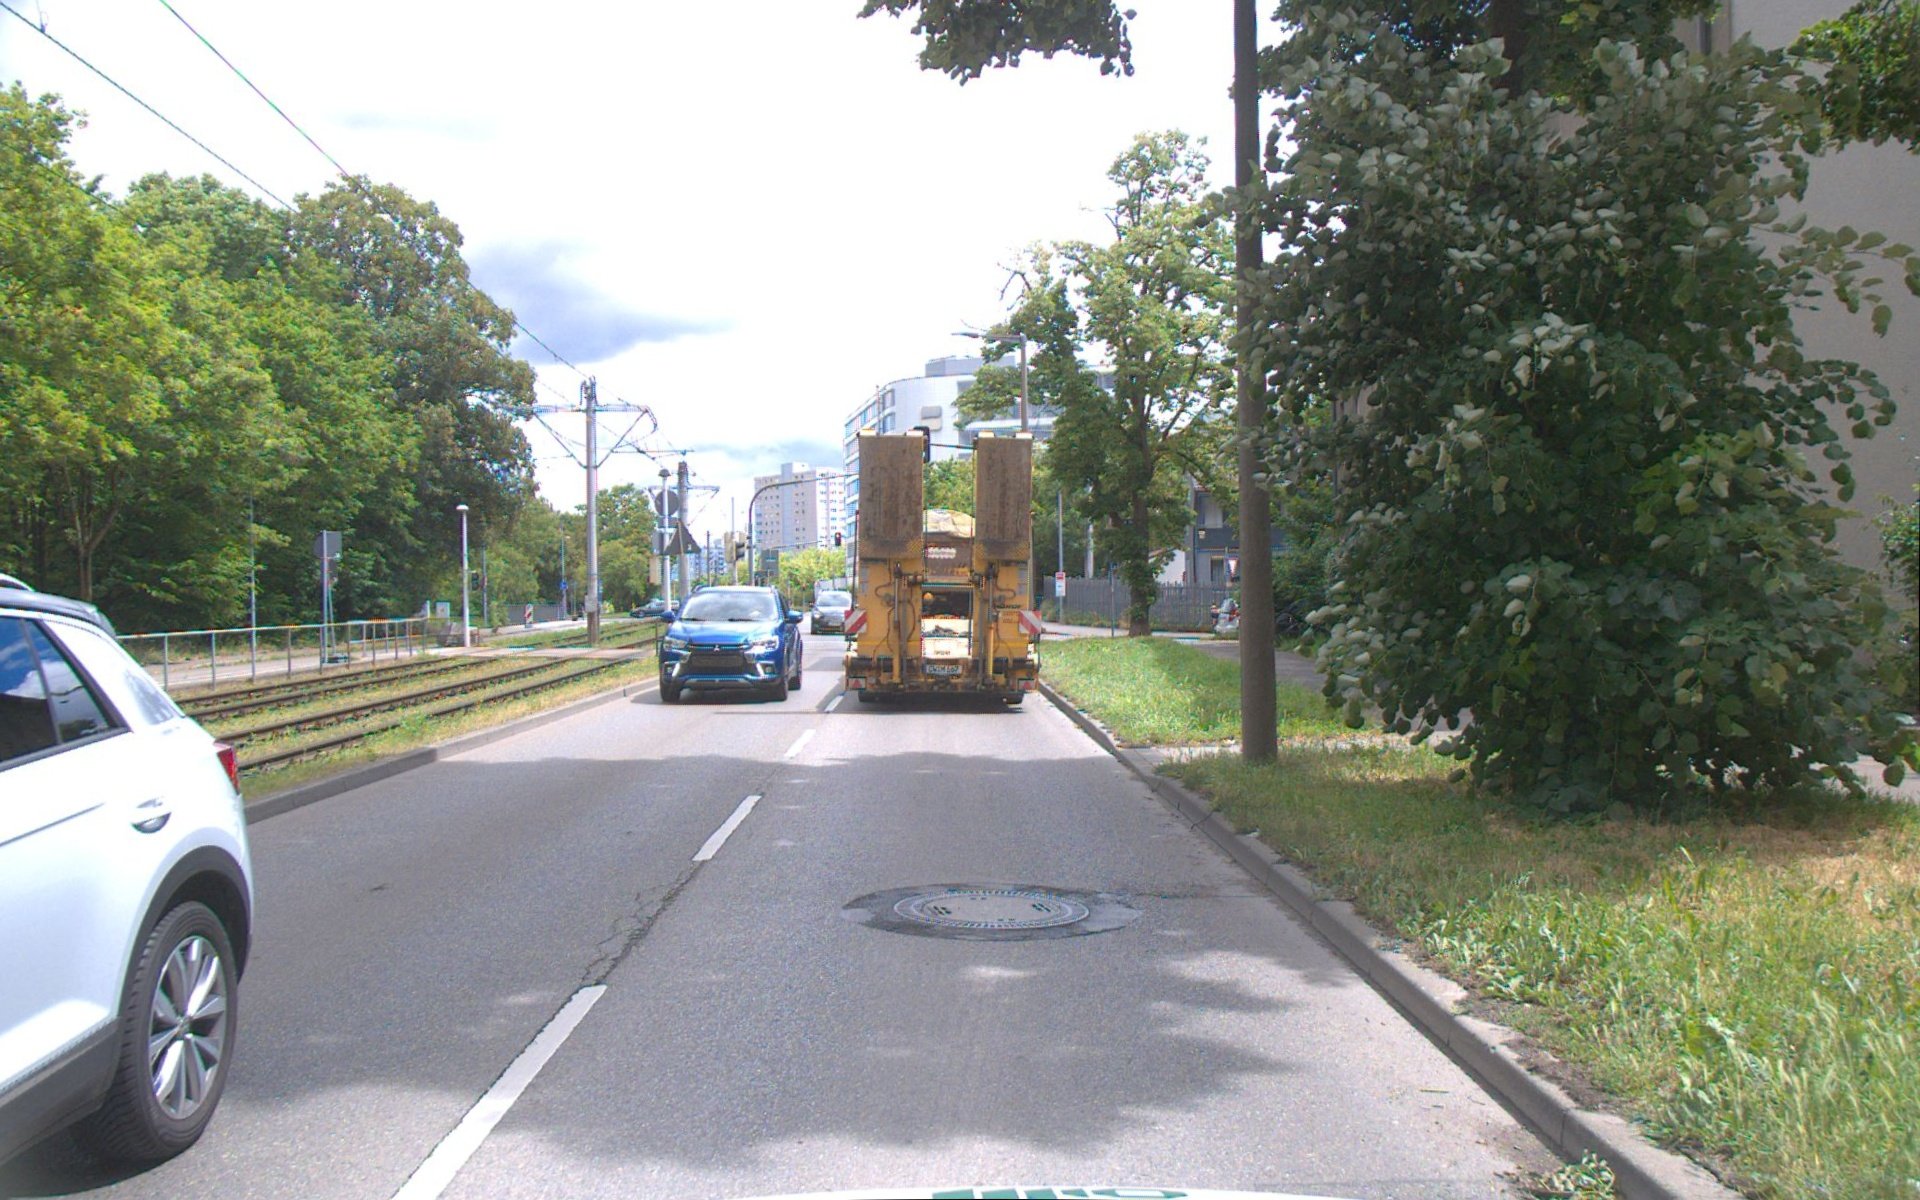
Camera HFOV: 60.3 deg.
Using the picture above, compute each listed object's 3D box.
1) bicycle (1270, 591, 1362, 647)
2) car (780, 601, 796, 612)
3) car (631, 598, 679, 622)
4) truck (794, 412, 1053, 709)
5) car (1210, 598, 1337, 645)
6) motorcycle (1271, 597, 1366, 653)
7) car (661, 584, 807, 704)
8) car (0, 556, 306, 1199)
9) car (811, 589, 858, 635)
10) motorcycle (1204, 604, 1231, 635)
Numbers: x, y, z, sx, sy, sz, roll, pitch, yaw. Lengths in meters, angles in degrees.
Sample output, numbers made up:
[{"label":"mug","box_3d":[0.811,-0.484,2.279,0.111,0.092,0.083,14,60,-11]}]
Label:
[{"label":"bicycle","box_3d":[8.677,0.462,40.422,2.121,1.305,0.681,-1,-1,7]},{"label":"car","box_3d":[-22.688,0.905,218.412,1.956,1.445,3.993,1,-1,-8]},{"label":"car","box_3d":[-25.918,0.856,140.477,3.913,2.049,1.996,1,-1,-9]},{"label":"truck","box_3d":[-0.727,-0.426,27.042,3.249,3.715,12.554,0,-1,-3]},{"label":"car","box_3d":[10.814,0.710,57.148,3.913,1.581,1.935,0,0,-9]},{"label":"motorcycle","box_3d":[8.589,0.598,39.710,2.157,1.305,0.681,-1,-1,7]},{"label":"car","box_3d":[-3.228,0.577,24.304,1.678,1.594,4.165,1,0,-2]},{"label":"car","box_3d":[-2.763,0.693,2.988,1.682,1.571,3.999,1,1,-2]},{"label":"car","box_3d":[-4.808,0.435,63.916,1.673,1.705,4.226,1,0,-3]},{"label":"motorcycle","box_3d":[9.764,0.739,62.698,0.645,1.169,2.426,0,-1,17]}]
